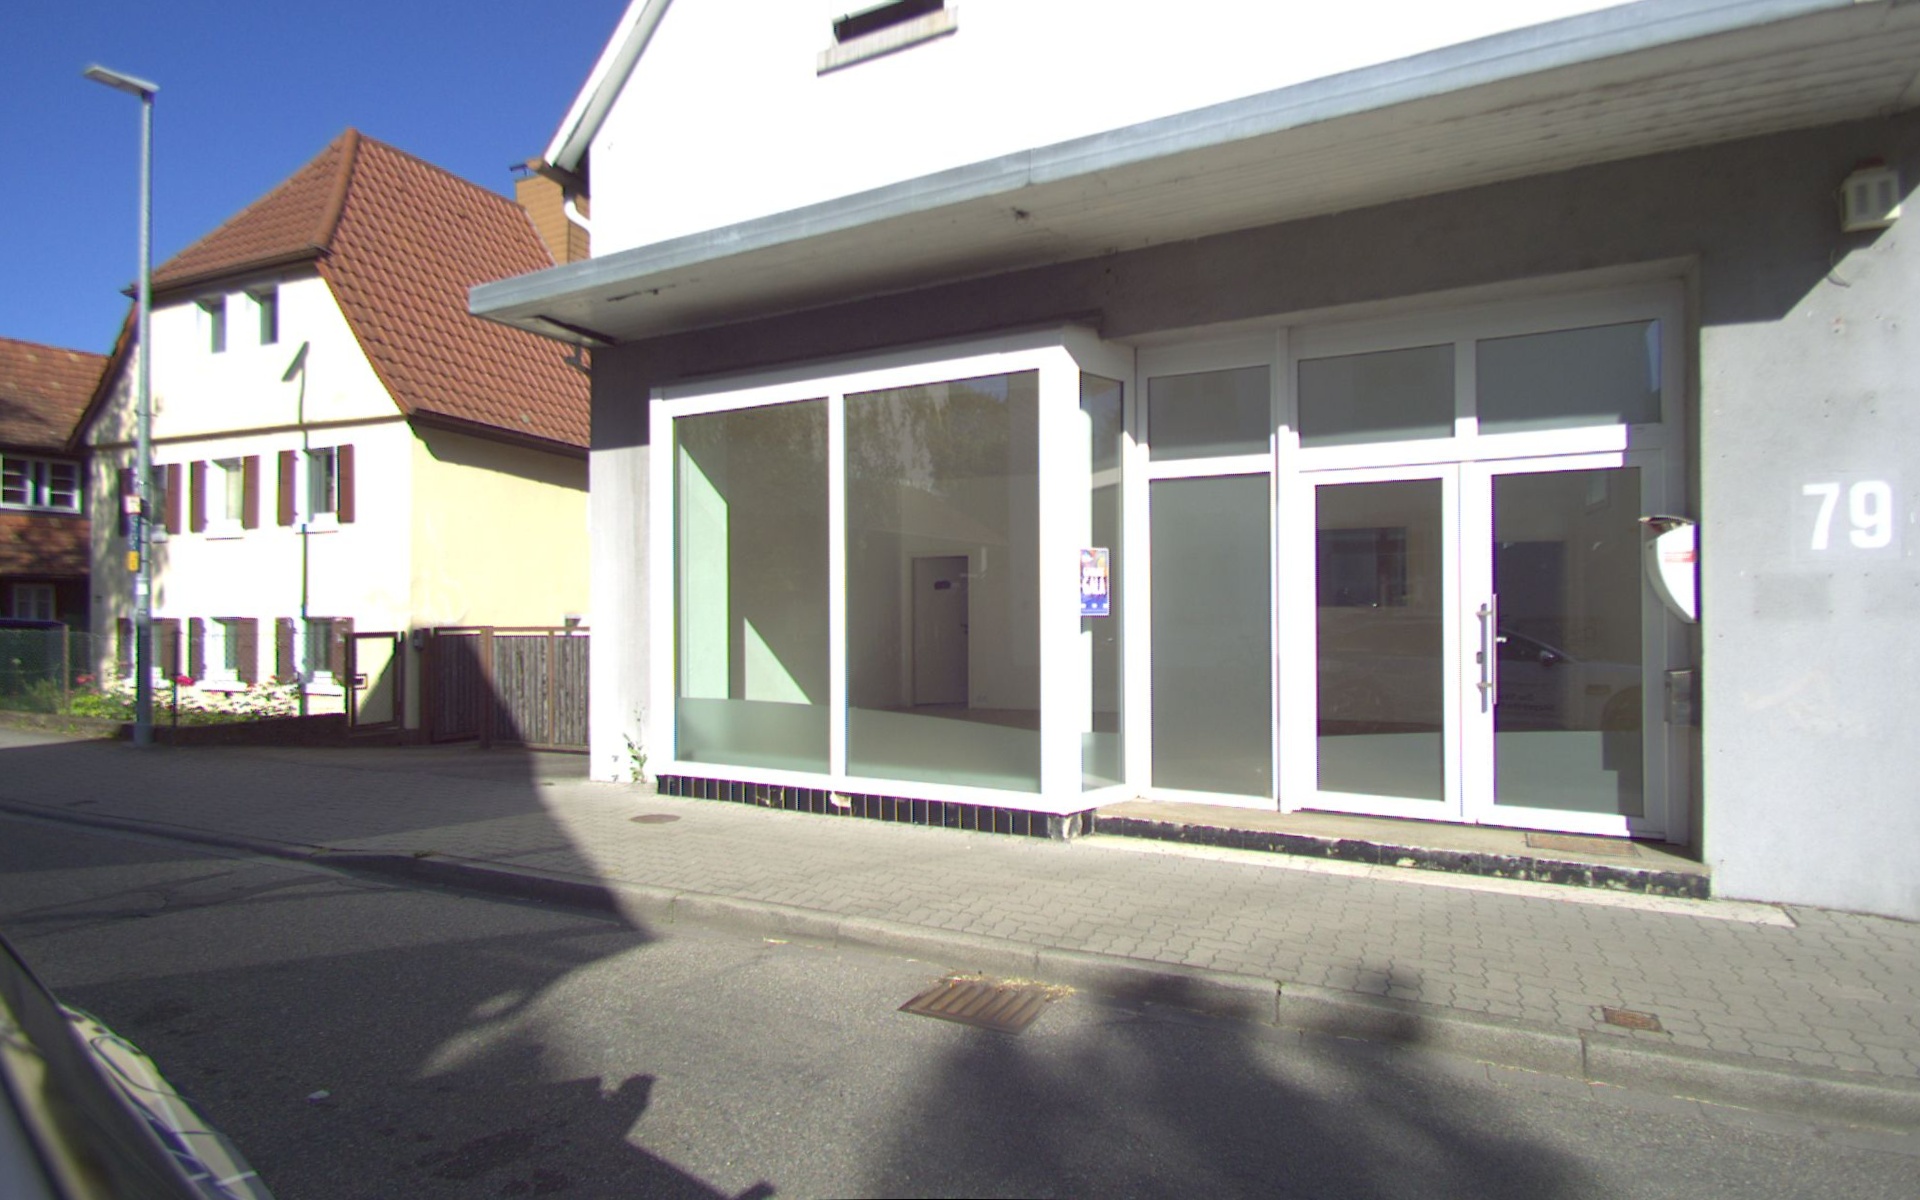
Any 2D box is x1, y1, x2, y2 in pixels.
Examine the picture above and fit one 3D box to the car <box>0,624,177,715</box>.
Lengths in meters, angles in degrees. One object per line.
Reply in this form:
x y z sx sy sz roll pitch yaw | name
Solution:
-16.167 1.165 17.201 1.835 1.473 4.143 -1 -3 20 | car
